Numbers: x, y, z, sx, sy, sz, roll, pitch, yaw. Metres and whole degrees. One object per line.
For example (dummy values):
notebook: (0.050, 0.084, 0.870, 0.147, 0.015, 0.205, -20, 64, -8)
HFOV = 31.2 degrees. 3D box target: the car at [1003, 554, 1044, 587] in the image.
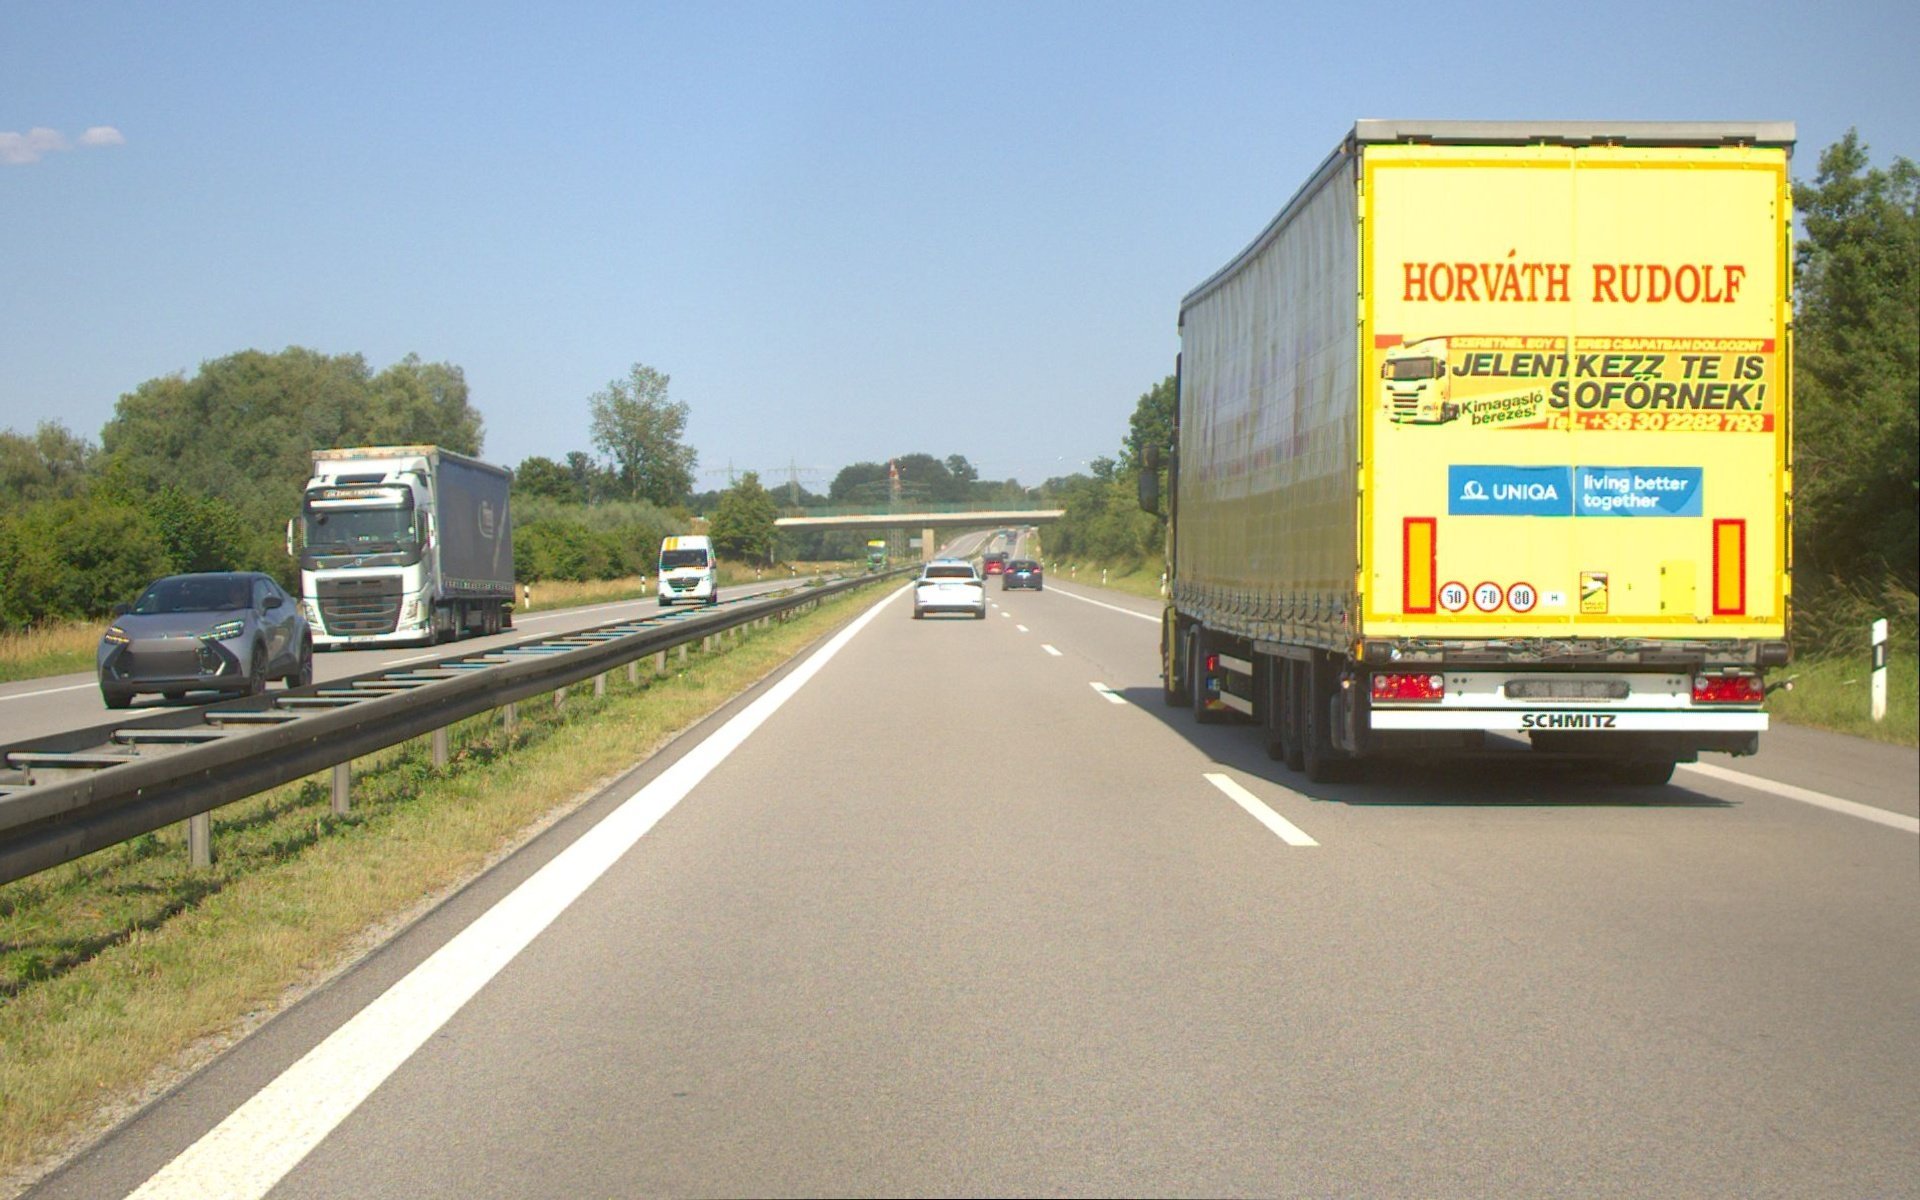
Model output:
car: (2.941, -1.381, 160.429, 1.843, 1.515, 4.000, 1, 1, 0)

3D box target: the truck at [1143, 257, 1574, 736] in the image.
truck: (3.623, -0.929, 32.990, 3.168, 4.100, 6.389, 1, 0, -2)

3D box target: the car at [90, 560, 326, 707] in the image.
car: (-9.042, 0.358, 41.715, 1.725, 1.577, 4.767, -4, 1, 0)

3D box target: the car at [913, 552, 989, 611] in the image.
car: (-0.221, -0.476, 86.101, 1.843, 1.411, 4.000, 1, 1, 0)

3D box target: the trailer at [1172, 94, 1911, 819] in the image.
trailer: (3.694, -0.872, 26.041, 3.184, 4.045, 13.187, 1, 1, -1)

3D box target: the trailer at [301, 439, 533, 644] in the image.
trailer: (-12.062, -1.278, 77.972, 3.184, 4.045, 14.599, -3, 1, -2)

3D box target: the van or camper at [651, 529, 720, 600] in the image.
van or camper: (-10.295, -1.333, 129.520, 1.993, 2.488, 7.228, -2, 1, -1)

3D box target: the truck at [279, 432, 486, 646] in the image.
truck: (-11.868, -1.249, 71.231, 3.168, 4.100, 6.389, -2, 1, -1)
